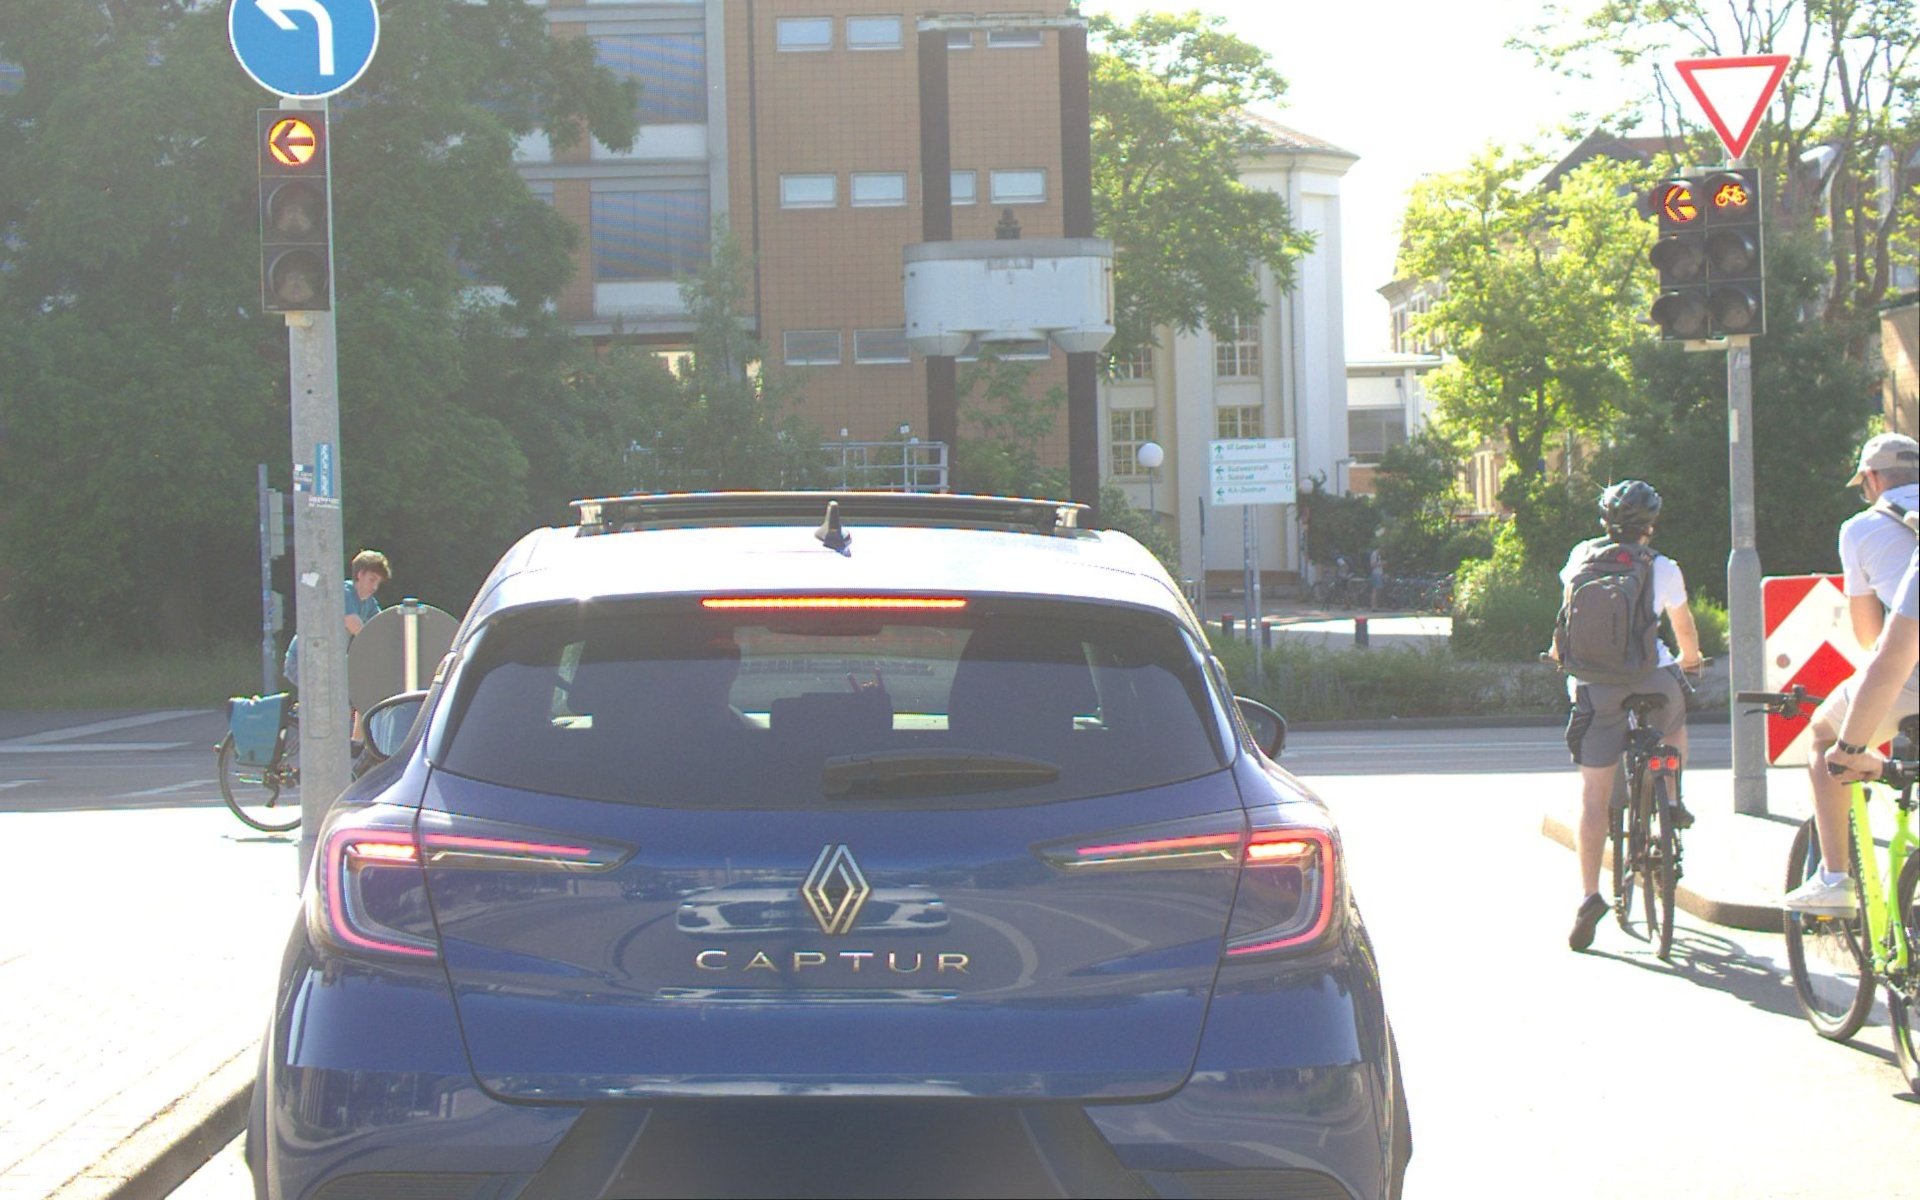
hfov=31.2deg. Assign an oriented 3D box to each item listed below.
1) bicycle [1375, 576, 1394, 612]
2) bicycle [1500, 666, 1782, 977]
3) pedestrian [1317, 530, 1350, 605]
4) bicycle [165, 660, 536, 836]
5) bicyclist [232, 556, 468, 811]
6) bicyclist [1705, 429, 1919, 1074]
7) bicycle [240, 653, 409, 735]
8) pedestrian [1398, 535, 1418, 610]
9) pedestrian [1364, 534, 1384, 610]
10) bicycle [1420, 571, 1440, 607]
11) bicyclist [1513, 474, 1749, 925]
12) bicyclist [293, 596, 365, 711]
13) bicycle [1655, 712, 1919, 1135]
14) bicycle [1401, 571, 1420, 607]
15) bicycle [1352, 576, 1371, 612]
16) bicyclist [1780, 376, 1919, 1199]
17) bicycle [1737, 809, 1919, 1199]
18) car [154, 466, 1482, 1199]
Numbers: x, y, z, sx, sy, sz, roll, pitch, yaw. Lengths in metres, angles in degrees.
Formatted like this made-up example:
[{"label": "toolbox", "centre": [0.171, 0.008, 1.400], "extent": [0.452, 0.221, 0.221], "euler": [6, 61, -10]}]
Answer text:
[{"label": "bicycle", "centre": [11.605, -0.166, 94.029], "extent": [0.405, 0.969, 1.683], "euler": [1, 1, 4]}, {"label": "bicycle", "centre": [2.509, 0.780, 12.893], "extent": [0.739, 0.992, 2.173], "euler": [1, 1, 3]}, {"label": "pedestrian", "centre": [10.146, -0.887, 93.373], "extent": [0.859, 2.007, 0.468], "euler": [-1, 1, 6]}, {"label": "bicycle", "centre": [-3.566, 0.864, 20.148], "extent": [1.985, 0.915, 0.687], "euler": [-3, 0, 11]}, {"label": "bicyclist", "centre": [-3.566, 0.483, 20.145], "extent": [1.124, 1.417, 0.687], "euler": [-3, 0, 11]}, {"label": "bicyclist", "centre": [2.621, 0.405, 9.802], "extent": [0.645, 1.733, 1.067], "euler": [1, 0, -6]}, {"label": "bicycle", "centre": [-8.085, 1.189, 43.760], "extent": [2.005, 0.961, 0.598], "euler": [-2, 1, -27]}, {"label": "pedestrian", "centre": [12.030, -0.748, 92.387], "extent": [0.475, 2.007, 0.468], "euler": [-1, 1, 6]}, {"label": "pedestrian", "centre": [10.973, -0.749, 91.035], "extent": [0.475, 2.007, 0.523], "euler": [-1, 1, 6]}, {"label": "bicycle", "centre": [12.909, -0.295, 94.409], "extent": [0.405, 0.969, 1.683], "euler": [1, 1, 4]}, {"label": "bicyclist", "centre": [2.506, 0.354, 12.937], "extent": [0.726, 1.623, 0.969], "euler": [1, 0, 4]}, {"label": "bicyclist", "centre": [-8.038, 0.676, 43.778], "extent": [0.737, 1.436, 0.598], "euler": [-2, 1, -27]}, {"label": "bicycle", "centre": [2.610, 0.864, 9.813], "extent": [0.659, 0.999, 1.970], "euler": [1, 1, -6]}, {"label": "bicycle", "centre": [12.373, -0.303, 94.395], "extent": [0.405, 0.969, 1.683], "euler": [1, 1, 4]}, {"label": "bicycle", "centre": [10.983, -0.175, 94.073], "extent": [0.405, 0.969, 1.683], "euler": [1, 1, 4]}, {"label": "bicyclist", "centre": [2.231, 0.394, 7.237], "extent": [0.751, 1.663, 1.016], "euler": [1, 0, 1]}, {"label": "bicycle", "centre": [2.226, 0.961, 7.248], "extent": [0.740, 0.893, 1.978], "euler": [1, 1, 1]}, {"label": "car", "centre": [-0.269, 0.612, 6.688], "extent": [1.803, 1.626, 4.000], "euler": [0, 1, -2]}]
